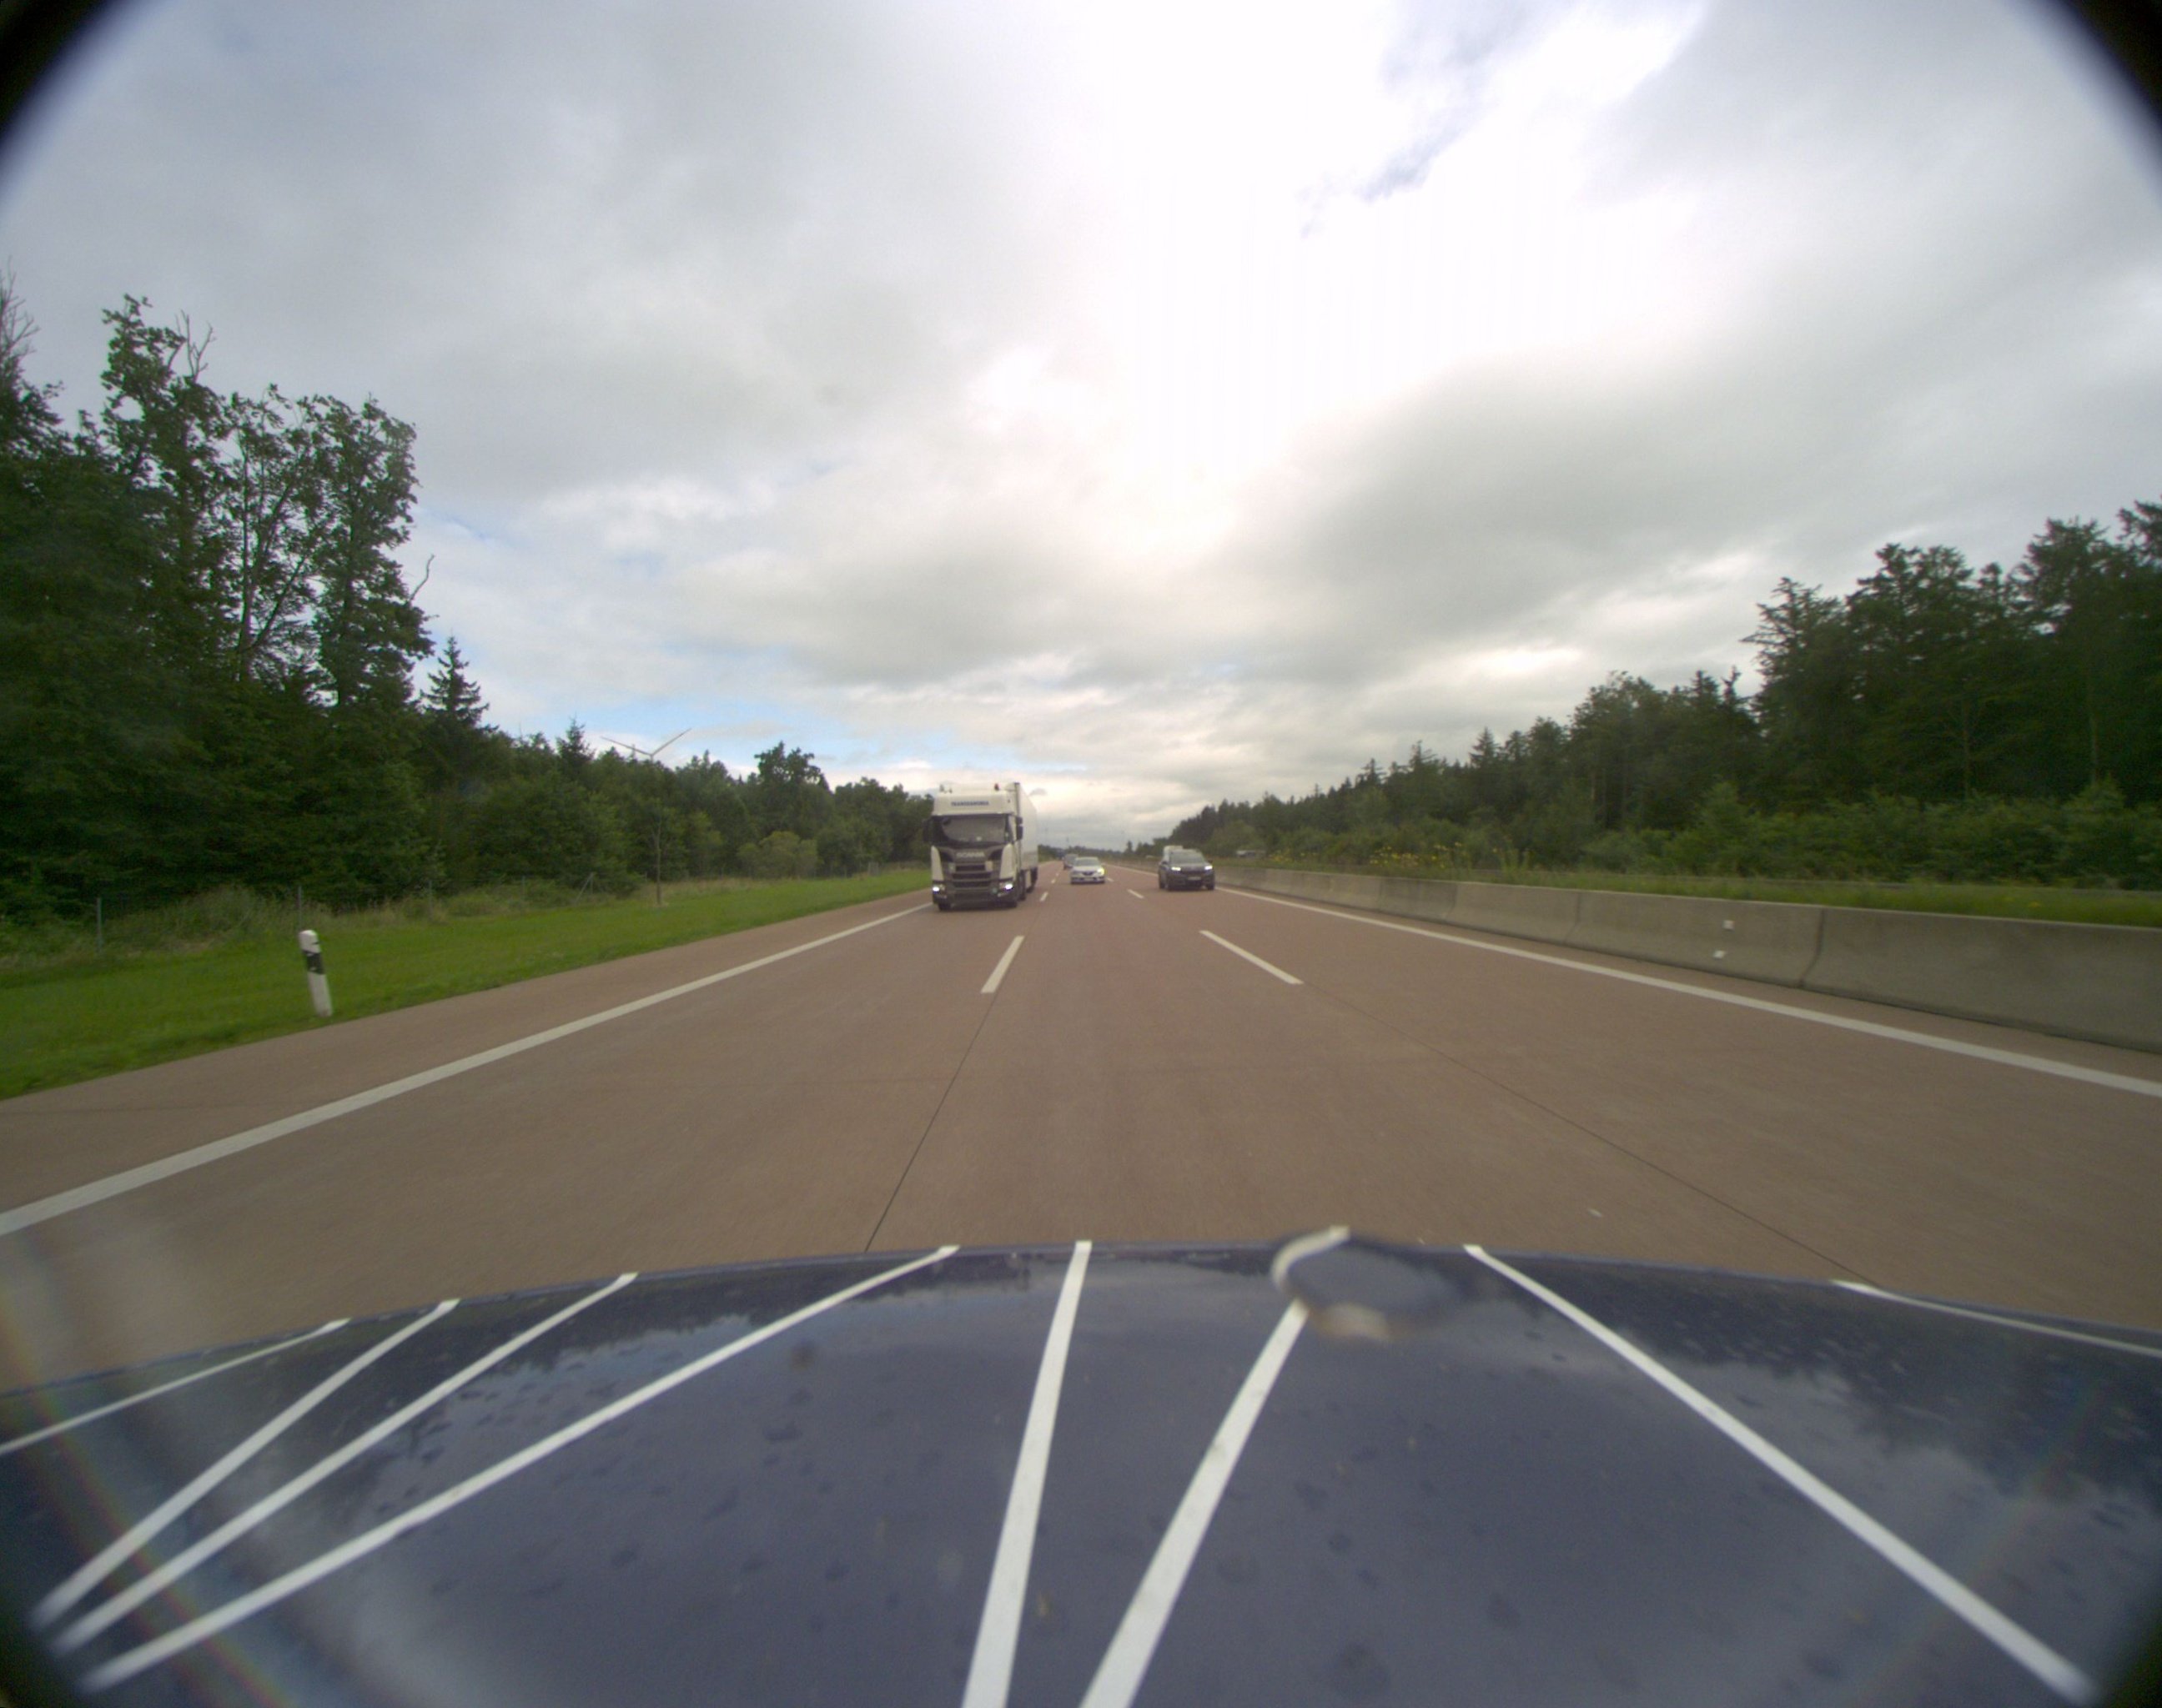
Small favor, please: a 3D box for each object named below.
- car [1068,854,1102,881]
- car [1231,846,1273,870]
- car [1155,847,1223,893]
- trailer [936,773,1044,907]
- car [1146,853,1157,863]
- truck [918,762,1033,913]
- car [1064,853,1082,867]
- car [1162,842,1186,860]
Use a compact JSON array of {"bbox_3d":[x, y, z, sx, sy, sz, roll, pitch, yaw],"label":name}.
[{"bbox_3d":[0.288,0.768,45.249,1.923,1.515,4.000,-2,0,1],"label":"car"},{"bbox_3d":[15.306,0.331,68.466,2.228,2.002,6.377,-3,0,0],"label":"car"},{"bbox_3d":[4.414,0.609,31.790,1.999,1.689,5.252,-2,0,-1],"label":"car"},{"bbox_3d":[-3.306,-0.489,31.578,2.929,4.269,13.611,-2,0,-1],"label":"trailer"},{"bbox_3d":[14.370,0.796,154.261,1.788,1.762,3.752,-2,0,-1],"label":"car"},{"bbox_3d":[-3.206,-0.493,24.576,2.929,4.269,5.333,-2,0,-1],"label":"truck"},{"bbox_3d":[-0.918,0.704,89.080,1.986,1.499,4.052,-2,0,0],"label":"car"},{"bbox_3d":[11.583,-0.357,95.075,2.078,2.129,7.487,-3,0,1],"label":"car"}]
